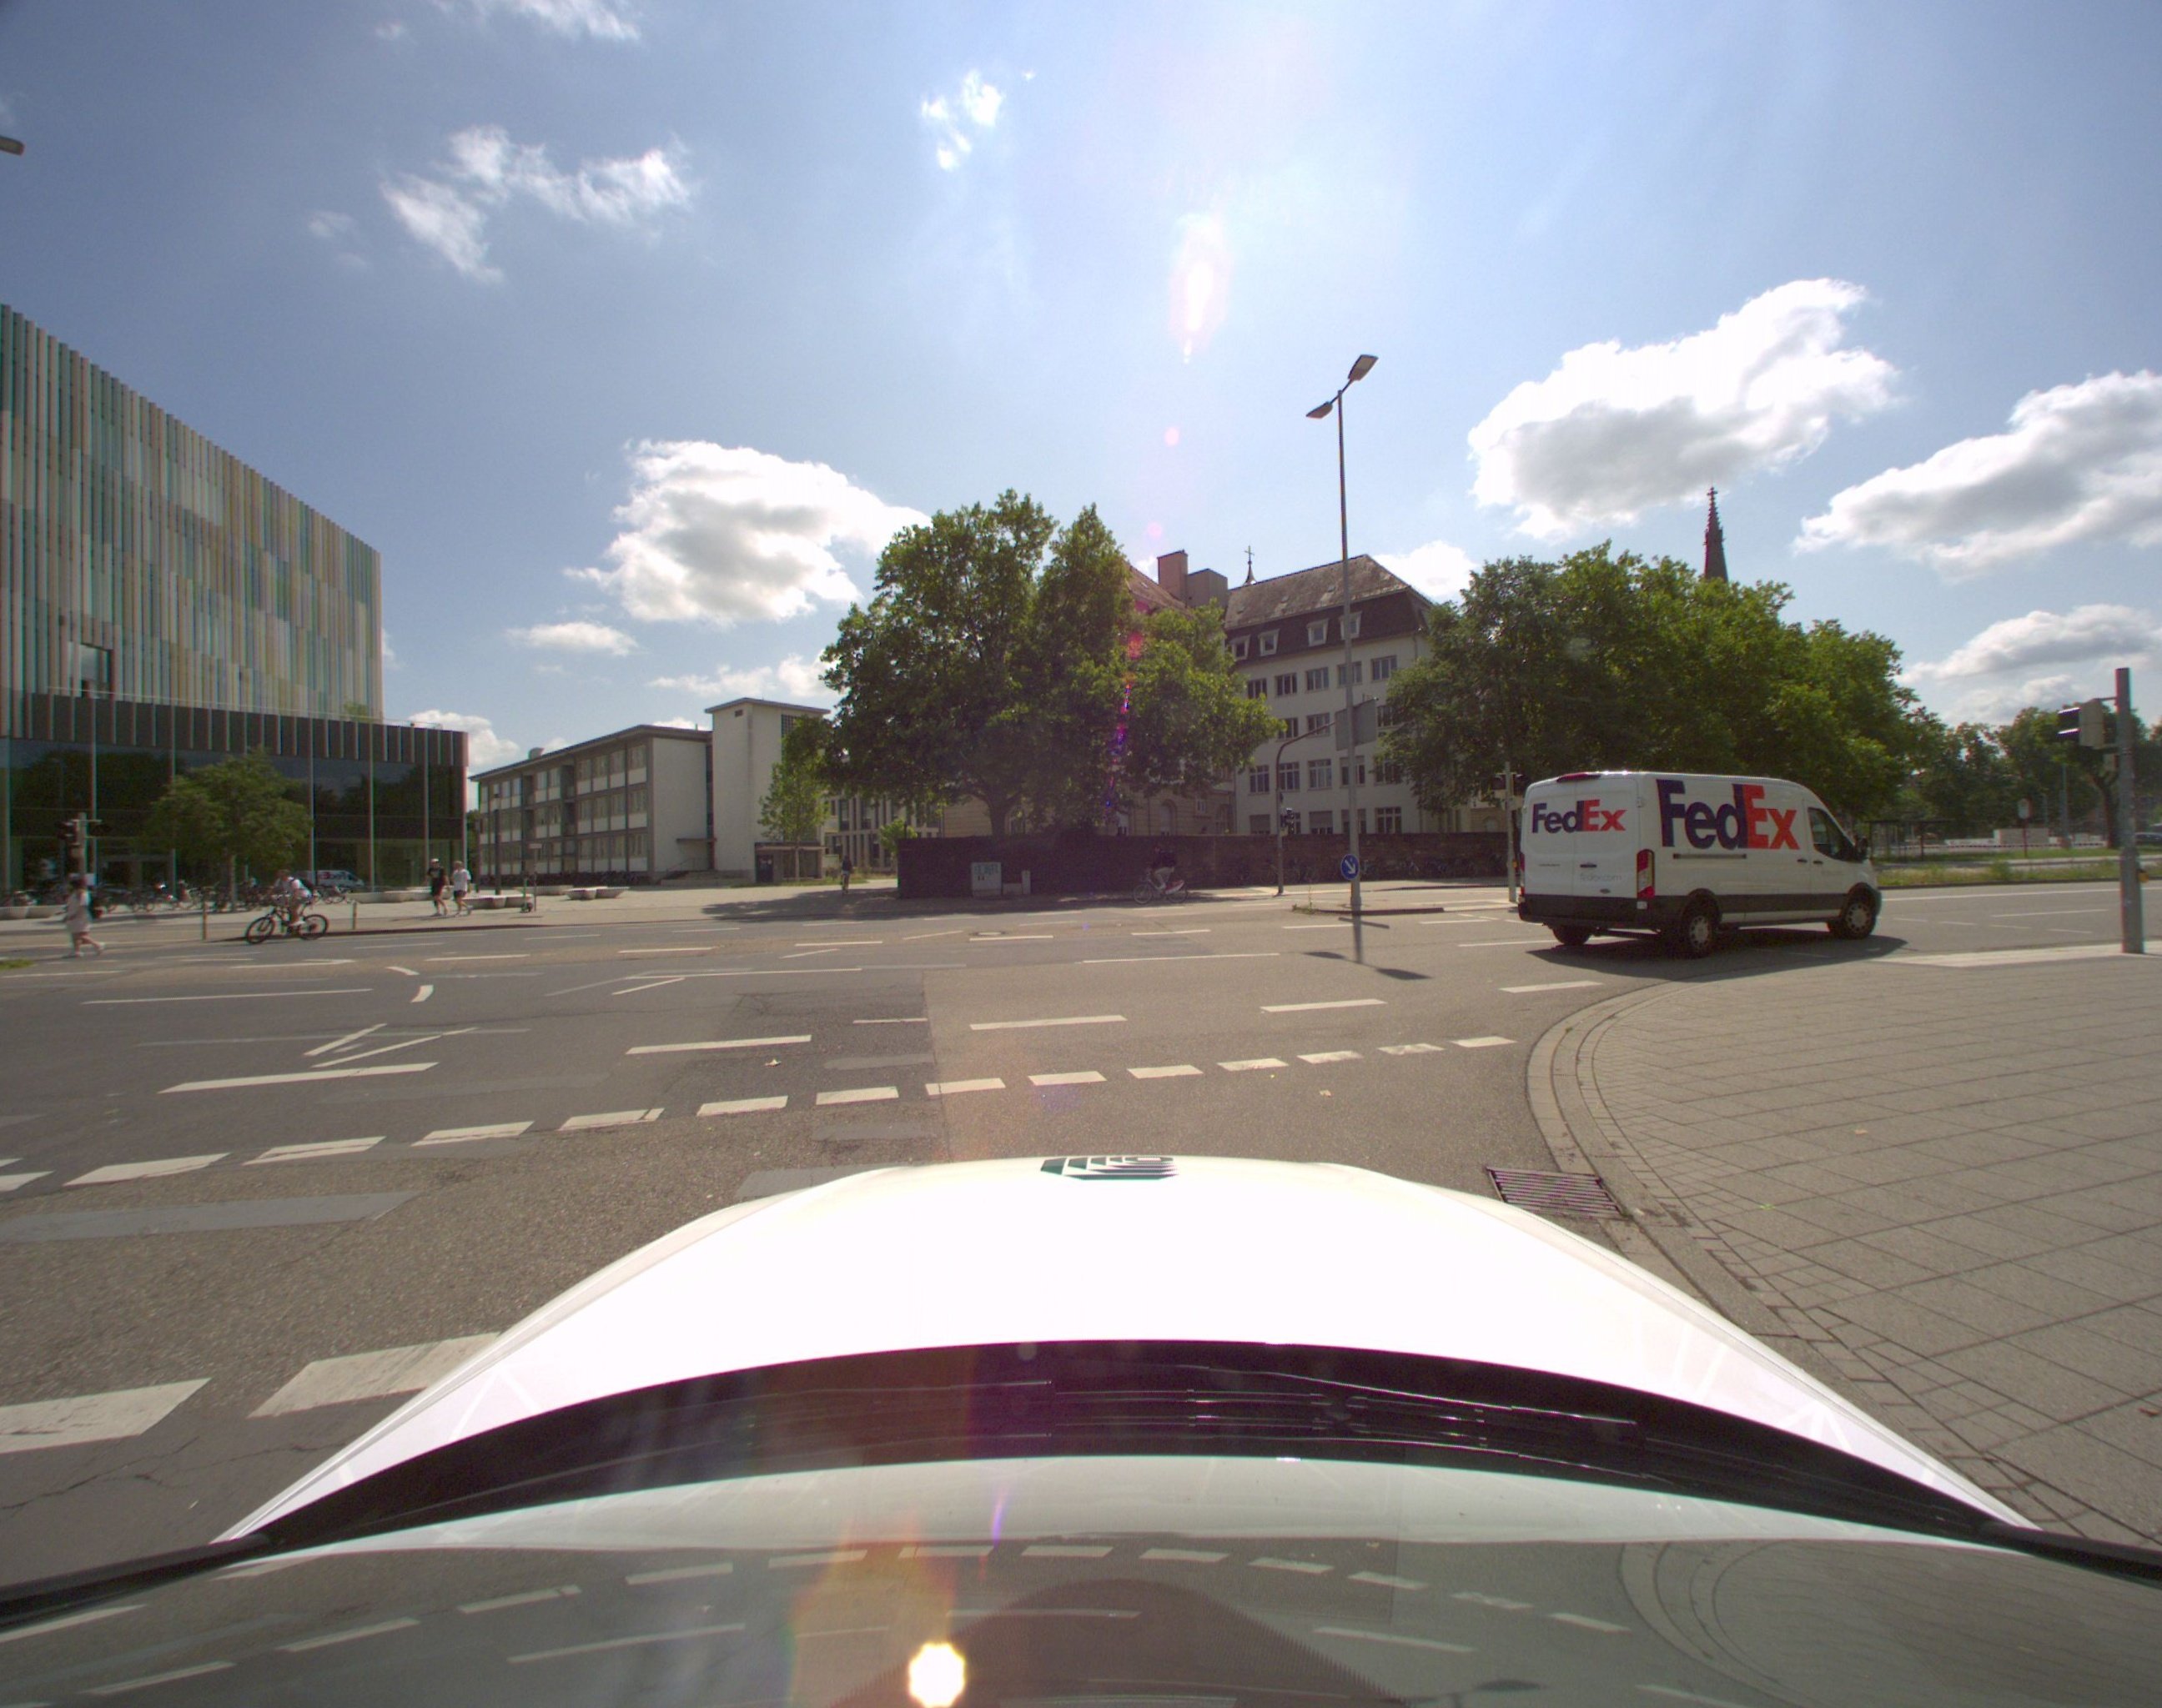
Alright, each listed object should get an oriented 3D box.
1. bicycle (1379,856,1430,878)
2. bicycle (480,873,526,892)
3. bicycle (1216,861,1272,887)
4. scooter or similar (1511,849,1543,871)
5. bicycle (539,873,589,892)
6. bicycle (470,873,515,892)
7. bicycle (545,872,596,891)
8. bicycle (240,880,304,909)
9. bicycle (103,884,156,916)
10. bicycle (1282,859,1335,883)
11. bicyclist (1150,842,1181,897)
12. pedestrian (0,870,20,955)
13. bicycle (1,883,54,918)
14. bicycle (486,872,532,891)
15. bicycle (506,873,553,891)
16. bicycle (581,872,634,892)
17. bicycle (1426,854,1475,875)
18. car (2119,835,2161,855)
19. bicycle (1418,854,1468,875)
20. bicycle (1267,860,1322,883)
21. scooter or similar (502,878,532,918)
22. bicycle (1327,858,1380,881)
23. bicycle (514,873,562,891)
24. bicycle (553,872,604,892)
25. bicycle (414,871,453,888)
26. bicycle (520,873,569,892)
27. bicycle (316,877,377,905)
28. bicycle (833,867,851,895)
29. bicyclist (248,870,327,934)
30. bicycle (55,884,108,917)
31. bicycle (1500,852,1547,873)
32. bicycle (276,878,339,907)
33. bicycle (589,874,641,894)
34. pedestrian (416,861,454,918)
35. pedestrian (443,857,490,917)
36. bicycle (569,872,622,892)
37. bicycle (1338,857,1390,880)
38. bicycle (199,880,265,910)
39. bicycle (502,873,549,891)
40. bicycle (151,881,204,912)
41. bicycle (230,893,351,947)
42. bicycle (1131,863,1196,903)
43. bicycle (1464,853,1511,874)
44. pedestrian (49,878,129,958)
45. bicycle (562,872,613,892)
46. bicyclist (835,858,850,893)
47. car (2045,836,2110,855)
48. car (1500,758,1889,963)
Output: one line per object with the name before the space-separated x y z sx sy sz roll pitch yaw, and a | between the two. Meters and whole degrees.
bicycle | 15.549 0.635 39.106 2.389 0.994 0.749 -1 -1 -21
bicycle | -49.365 2.406 69.542 1.102 1.575 2.984 -2 -2 36
bicycle | 7.170 0.860 35.861 2.389 1.058 0.749 -1 -1 -21
scooter or similar | 22.427 0.322 40.949 1.940 1.084 0.534 0 -2 -33
bicycle | -38.917 2.115 61.294 1.102 1.363 2.984 -2 -2 36
bicycle | -51.378 2.460 71.094 1.102 1.575 2.984 -2 -2 36
bicycle | -37.885 2.059 60.514 1.102 1.363 2.984 -2 -2 36
bicycle | -36.249 1.793 36.493 2.914 1.237 1.208 -1 -1 28
bicycle | -38.967 1.845 33.345 2.913 1.237 1.208 -2 -2 37
bicycle | 10.355 0.776 37.044 2.389 0.994 0.692 -1 -1 -21
bicyclist | 2.651 0.488 25.734 0.884 1.672 0.684 -1 -1 1
pedestrian | -23.647 1.273 17.262 0.856 1.819 1.098 -2 -1 7
bicycle | -40.488 1.754 31.287 2.913 1.237 1.208 -2 -2 37
bicycle | -48.078 2.300 68.509 1.102 1.575 2.984 -2 -2 36
bicycle | -44.679 2.267 66.030 1.102 1.363 2.984 -2 -2 36
bicycle | -33.266 1.975 57.245 1.102 1.363 2.984 -2 -2 36
bicycle | 18.267 0.506 40.301 2.389 0.994 0.719 -1 -1 -21
car | 99.533 -0.852 75.471 1.573 1.755 3.844 0 -1 -23
bicycle | 17.823 0.521 40.111 2.389 0.994 0.749 -1 -1 -21
bicycle | 9.652 0.787 36.773 2.389 0.994 0.749 -1 -1 -21
scooter or similar | -18.648 1.420 26.956 0.721 1.178 2.697 -1 0 -33
bicycle | 12.736 0.726 37.997 2.389 0.994 0.749 -1 -1 -21
bicycle | -43.076 2.235 64.603 1.102 1.363 2.984 -2 -2 36
bicycle | -36.833 2.029 59.736 1.102 1.363 2.984 -2 -2 36
bicycle | -63.237 2.481 79.594 1.108 1.575 2.974 -1 -1 11
bicycle | -41.800 2.197 63.450 1.102 1.363 2.984 -2 -2 36
bicycle | -34.919 1.744 38.719 2.914 1.237 1.208 -1 -1 28
bicycle | -10.045 1.114 34.332 0.550 1.131 2.165 -1 -1 -12
bicyclist | -19.216 1.140 19.746 0.844 1.468 1.070 -2 -1 7
bicycle | -39.702 1.813 32.339 2.913 1.237 1.208 -2 -2 37
bicycle | 22.832 0.443 42.000 2.390 0.994 0.748 -1 -1 -23
bicycle | -35.564 1.761 37.453 2.914 1.237 1.208 -1 -1 28
bicycle | -32.248 2.052 56.410 1.102 1.363 2.984 -2 -2 36
pedestrian | -21.032 1.143 26.499 0.805 1.815 0.674 -2 -1 26
pedestrian | -19.974 1.067 26.467 0.902 1.889 0.873 -2 -1 23
bicycle | -34.623 2.009 58.145 1.259 1.363 2.984 -2 -2 36
bicycle | 13.283 0.687 38.225 2.389 0.994 0.720 -1 -1 -21
bicycle | -36.871 1.760 35.353 2.914 1.237 1.208 -1 -1 28
bicycle | -45.681 2.298 66.950 1.102 1.363 2.984 -2 -2 36
bicycle | -38.122 1.773 34.347 2.913 1.237 1.208 -2 -2 36
bicycle | -19.195 1.575 19.841 0.843 1.145 1.999 -1 -1 7
bicycle | 2.606 0.918 25.731 1.974 1.185 0.682 -1 -1 1
bicycle | 20.540 0.485 41.156 2.391 0.994 0.748 -1 -1 -23
pedestrian | -19.872 1.264 16.340 0.831 1.523 0.806 0 -1 -36
bicycle | -35.649 2.004 58.888 1.102 1.363 2.984 -2 -2 36
bicyclist | -10.023 0.889 34.243 0.515 1.452 0.784 -1 -1 -12
car | 100.627 -0.849 82.295 1.573 1.755 3.844 0 -1 -23
car | 9.232 0.006 12.225 5.606 2.566 2.087 -1 1 -22
